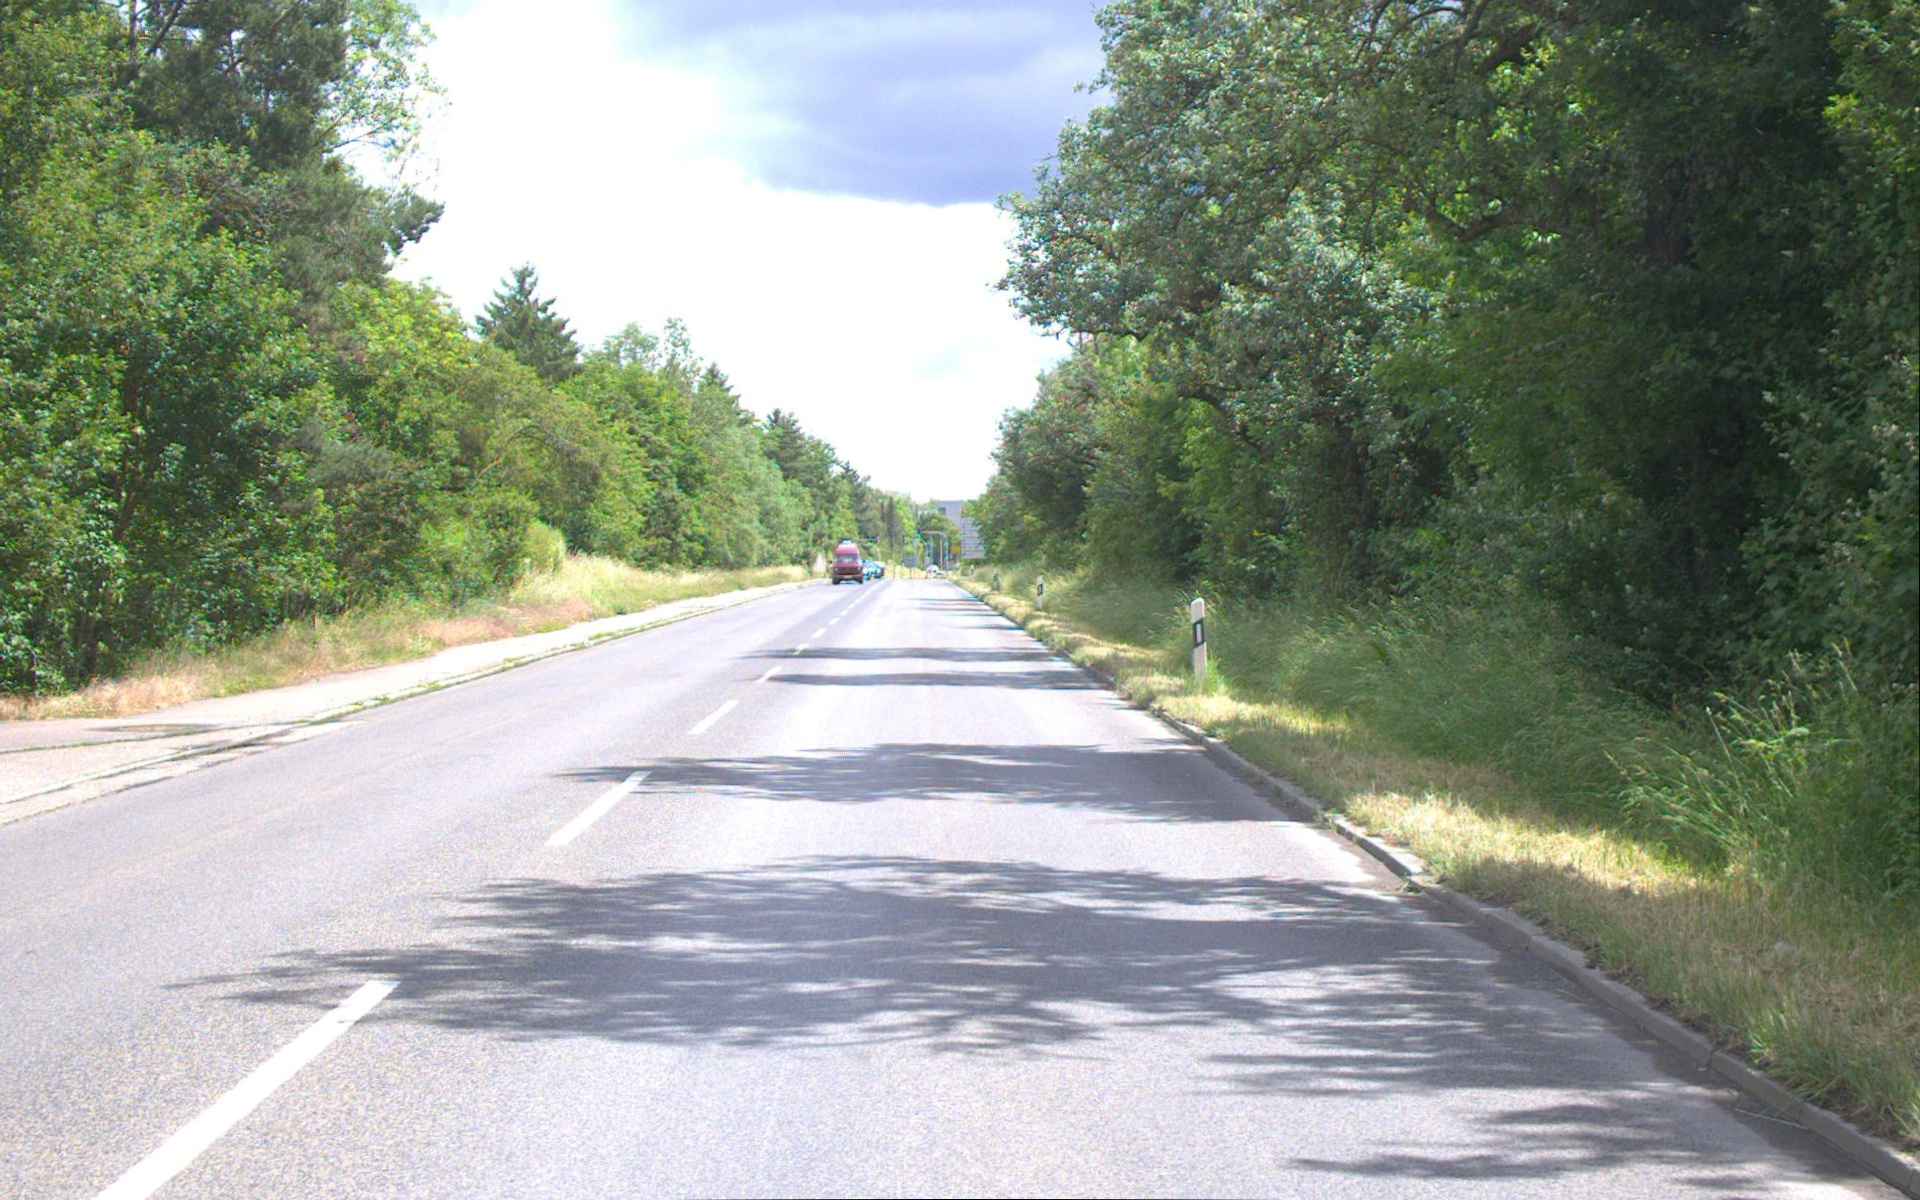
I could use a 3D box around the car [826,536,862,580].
[{"bbox_3d":[-6.981,-2.527,208.146,1.969,2.541,4.725,-3,0,-1],"label":"car"}]
